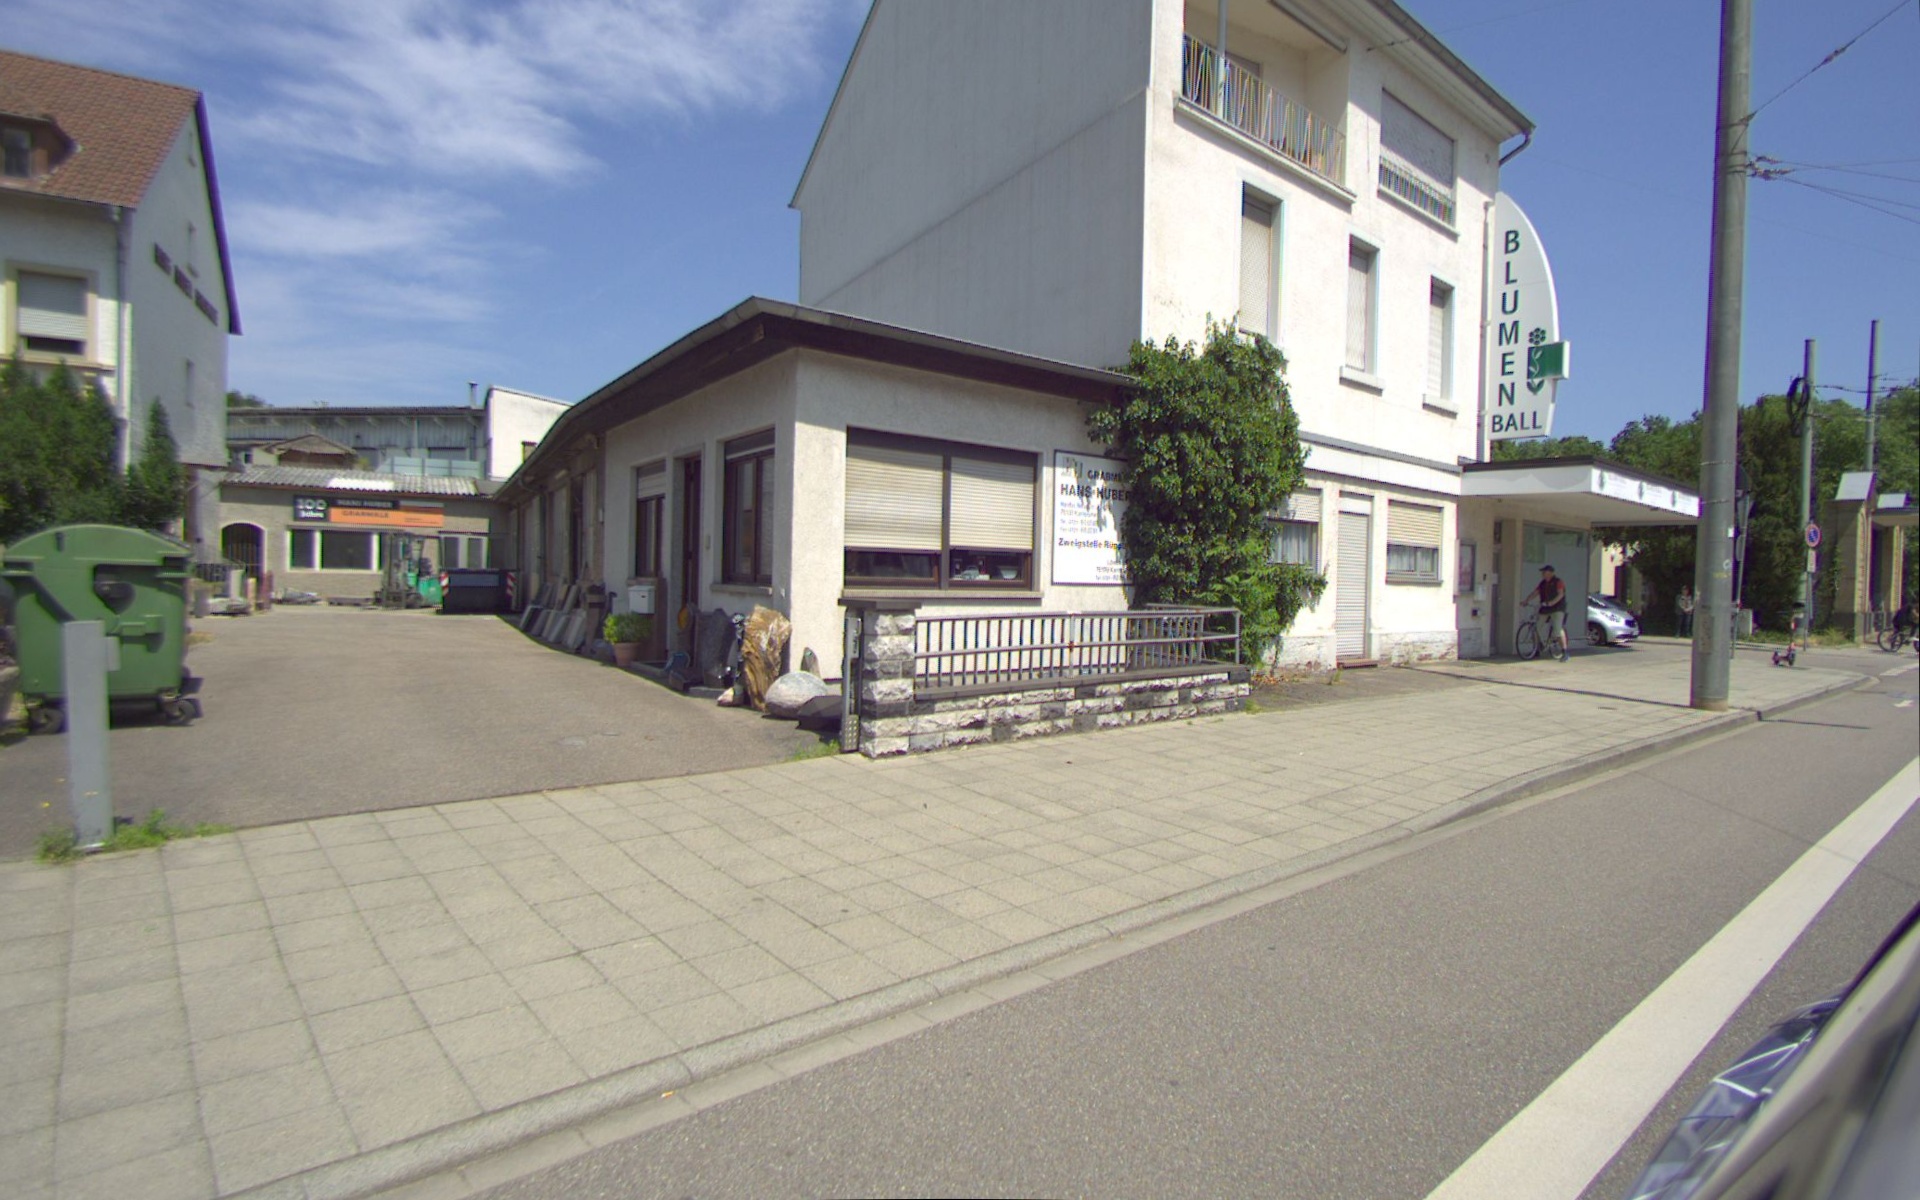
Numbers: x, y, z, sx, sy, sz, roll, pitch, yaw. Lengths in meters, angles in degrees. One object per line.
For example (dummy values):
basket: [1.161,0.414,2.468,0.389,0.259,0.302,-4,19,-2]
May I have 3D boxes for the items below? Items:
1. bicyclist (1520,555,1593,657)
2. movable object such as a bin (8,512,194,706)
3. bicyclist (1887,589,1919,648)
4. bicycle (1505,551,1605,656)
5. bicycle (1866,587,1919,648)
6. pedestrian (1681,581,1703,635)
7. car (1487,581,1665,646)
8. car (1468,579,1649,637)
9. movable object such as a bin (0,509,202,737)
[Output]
bicyclist: [11.503,0.107,19.538,0.870,1.897,0.792,1,3,-34]
movable object such as a bin: [-7.321,0.050,8.723,1.130,1.499,1.391,0,1,-37]
bicyclist: [27.387,0.549,28.850,0.973,1.596,0.864,6,4,17]
bicycle: [11.502,0.070,19.544,1.920,1.923,0.801,1,3,-34]
bicycle: [27.426,0.552,28.842,2.023,1.608,0.886,6,4,18]
pedestrian: [22.176,0.228,30.650,0.532,1.618,0.420,0,0,36]
car: [16.644,0.318,27.494,3.970,1.536,1.678,3,2,32]
car: [18.226,0.219,31.001,1.567,1.475,4.460,2,2,-41]
movable object such as a bin: [-6.368,0.129,7.487,1.131,1.499,1.390,0,1,-40]
